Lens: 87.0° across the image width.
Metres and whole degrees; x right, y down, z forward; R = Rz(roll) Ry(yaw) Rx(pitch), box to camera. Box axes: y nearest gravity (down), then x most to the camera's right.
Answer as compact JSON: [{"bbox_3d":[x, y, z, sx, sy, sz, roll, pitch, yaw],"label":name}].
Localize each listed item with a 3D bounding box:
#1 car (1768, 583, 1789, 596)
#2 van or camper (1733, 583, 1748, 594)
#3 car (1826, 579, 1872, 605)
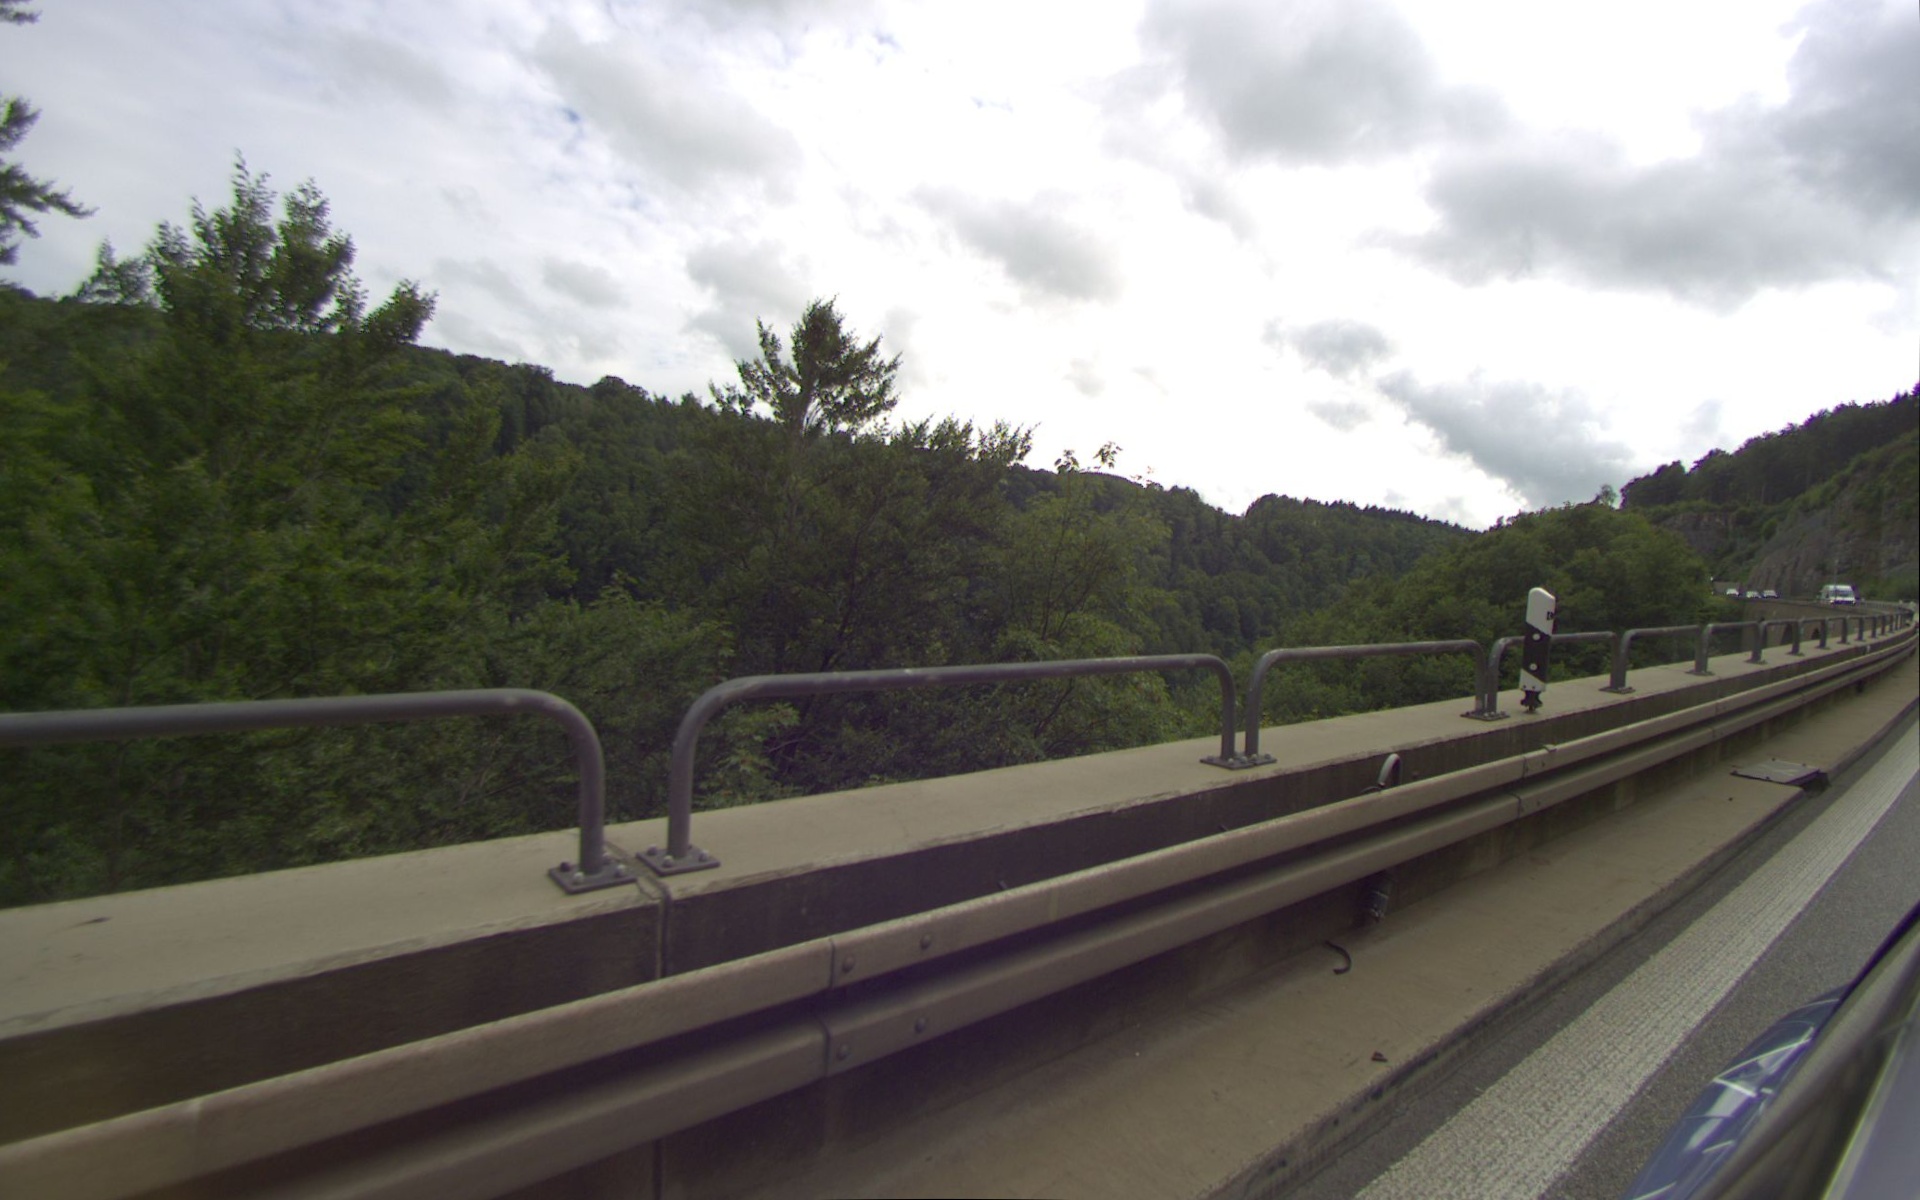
[{"bbox_3d":[128.536,-1.621,158.928,1.983,2.039,3.958,1,1,30],"label":"car"},{"bbox_3d":[152.074,-2.203,197.158,1.987,2.039,3.951,1,1,34],"label":"van or camper"},{"bbox_3d":[87.968,-0.788,100.245,2.658,2.453,6.045,1,1,35],"label":"car"}]
